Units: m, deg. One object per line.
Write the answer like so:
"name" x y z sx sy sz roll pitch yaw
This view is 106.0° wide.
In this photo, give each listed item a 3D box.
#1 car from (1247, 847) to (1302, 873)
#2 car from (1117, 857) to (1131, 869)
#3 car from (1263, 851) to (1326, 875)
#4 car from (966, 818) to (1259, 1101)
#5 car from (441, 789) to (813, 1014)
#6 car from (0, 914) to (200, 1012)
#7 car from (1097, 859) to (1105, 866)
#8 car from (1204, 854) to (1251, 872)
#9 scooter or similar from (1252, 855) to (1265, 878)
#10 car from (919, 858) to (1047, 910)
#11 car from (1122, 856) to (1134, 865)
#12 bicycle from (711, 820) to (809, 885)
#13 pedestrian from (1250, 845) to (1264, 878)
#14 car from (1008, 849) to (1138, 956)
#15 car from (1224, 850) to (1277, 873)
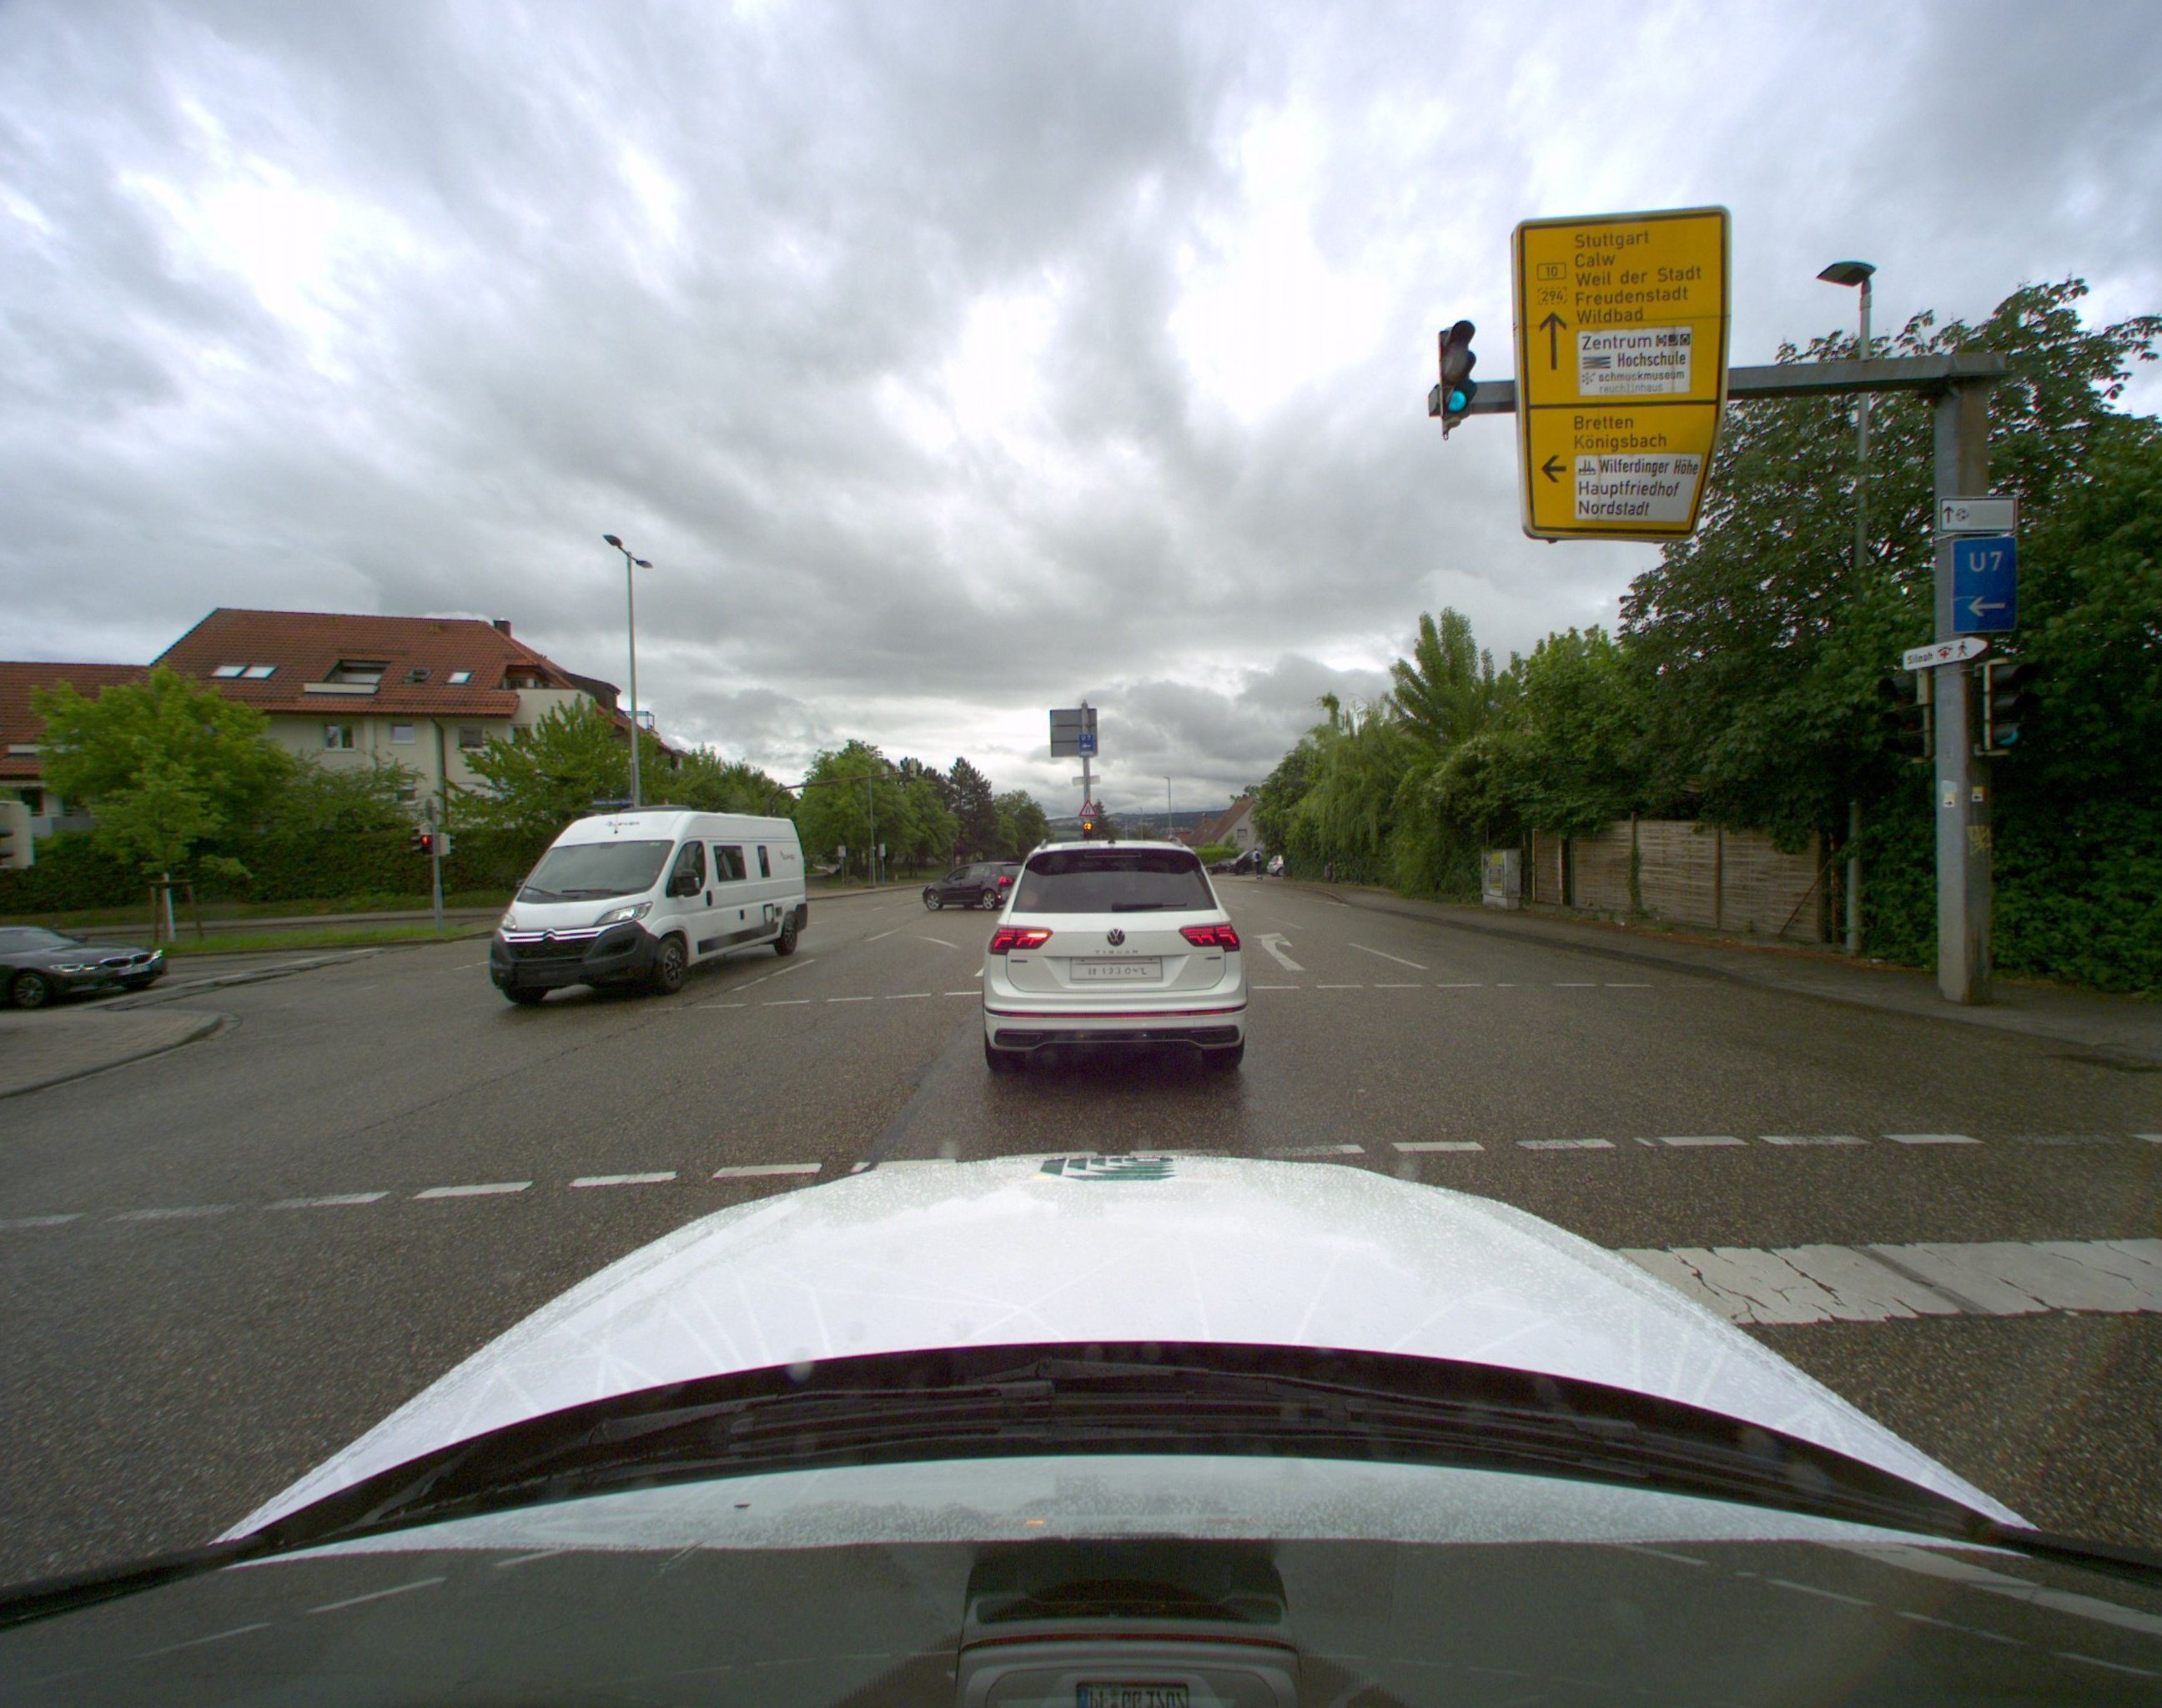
"car" 14.251 0.451 60.157 3.618 1.746 1.706 -2 0 -2
"car" 6.259 1.304 118.538 1.843 1.574 4.002 -2 0 2
"car" 14.376 0.614 54.845 3.709 1.395 1.725 -2 -1 -6
"car" 0.228 0.639 7.064 1.757 1.696 4.273 0 0 1
"car" -6.294 0.550 12.481 2.289 2.528 5.774 -3 0 0
"car" -19.617 2.078 15.013 4.414 1.392 1.774 -4 2 -5
"car" 4.843 2.046 200.440 1.843 1.574 4.002 -2 0 2
"car" 12.131 0.769 67.524 3.675 1.370 1.518 -1 -2 0
"scooter or similar" 11.012 0.763 50.536 0.460 1.361 1.384 -1 0 -2
"car" -3.183 0.953 26.098 3.948 1.479 1.777 -2 0 38
"car" 8.285 1.104 144.106 1.843 1.574 4.002 -2 0 2
"bicycle" -6.143 -0.036 15.625 1.631 1.126 0.468 -3 1 0
"pedestrian" 10.953 0.454 50.576 0.654 2.002 0.717 -1 0 -2
"car" 0.004 0.738 14.398 1.789 1.589 3.933 -2 0 6
"car" 13.010 0.580 62.560 3.618 1.626 1.789 -2 -1 -3
